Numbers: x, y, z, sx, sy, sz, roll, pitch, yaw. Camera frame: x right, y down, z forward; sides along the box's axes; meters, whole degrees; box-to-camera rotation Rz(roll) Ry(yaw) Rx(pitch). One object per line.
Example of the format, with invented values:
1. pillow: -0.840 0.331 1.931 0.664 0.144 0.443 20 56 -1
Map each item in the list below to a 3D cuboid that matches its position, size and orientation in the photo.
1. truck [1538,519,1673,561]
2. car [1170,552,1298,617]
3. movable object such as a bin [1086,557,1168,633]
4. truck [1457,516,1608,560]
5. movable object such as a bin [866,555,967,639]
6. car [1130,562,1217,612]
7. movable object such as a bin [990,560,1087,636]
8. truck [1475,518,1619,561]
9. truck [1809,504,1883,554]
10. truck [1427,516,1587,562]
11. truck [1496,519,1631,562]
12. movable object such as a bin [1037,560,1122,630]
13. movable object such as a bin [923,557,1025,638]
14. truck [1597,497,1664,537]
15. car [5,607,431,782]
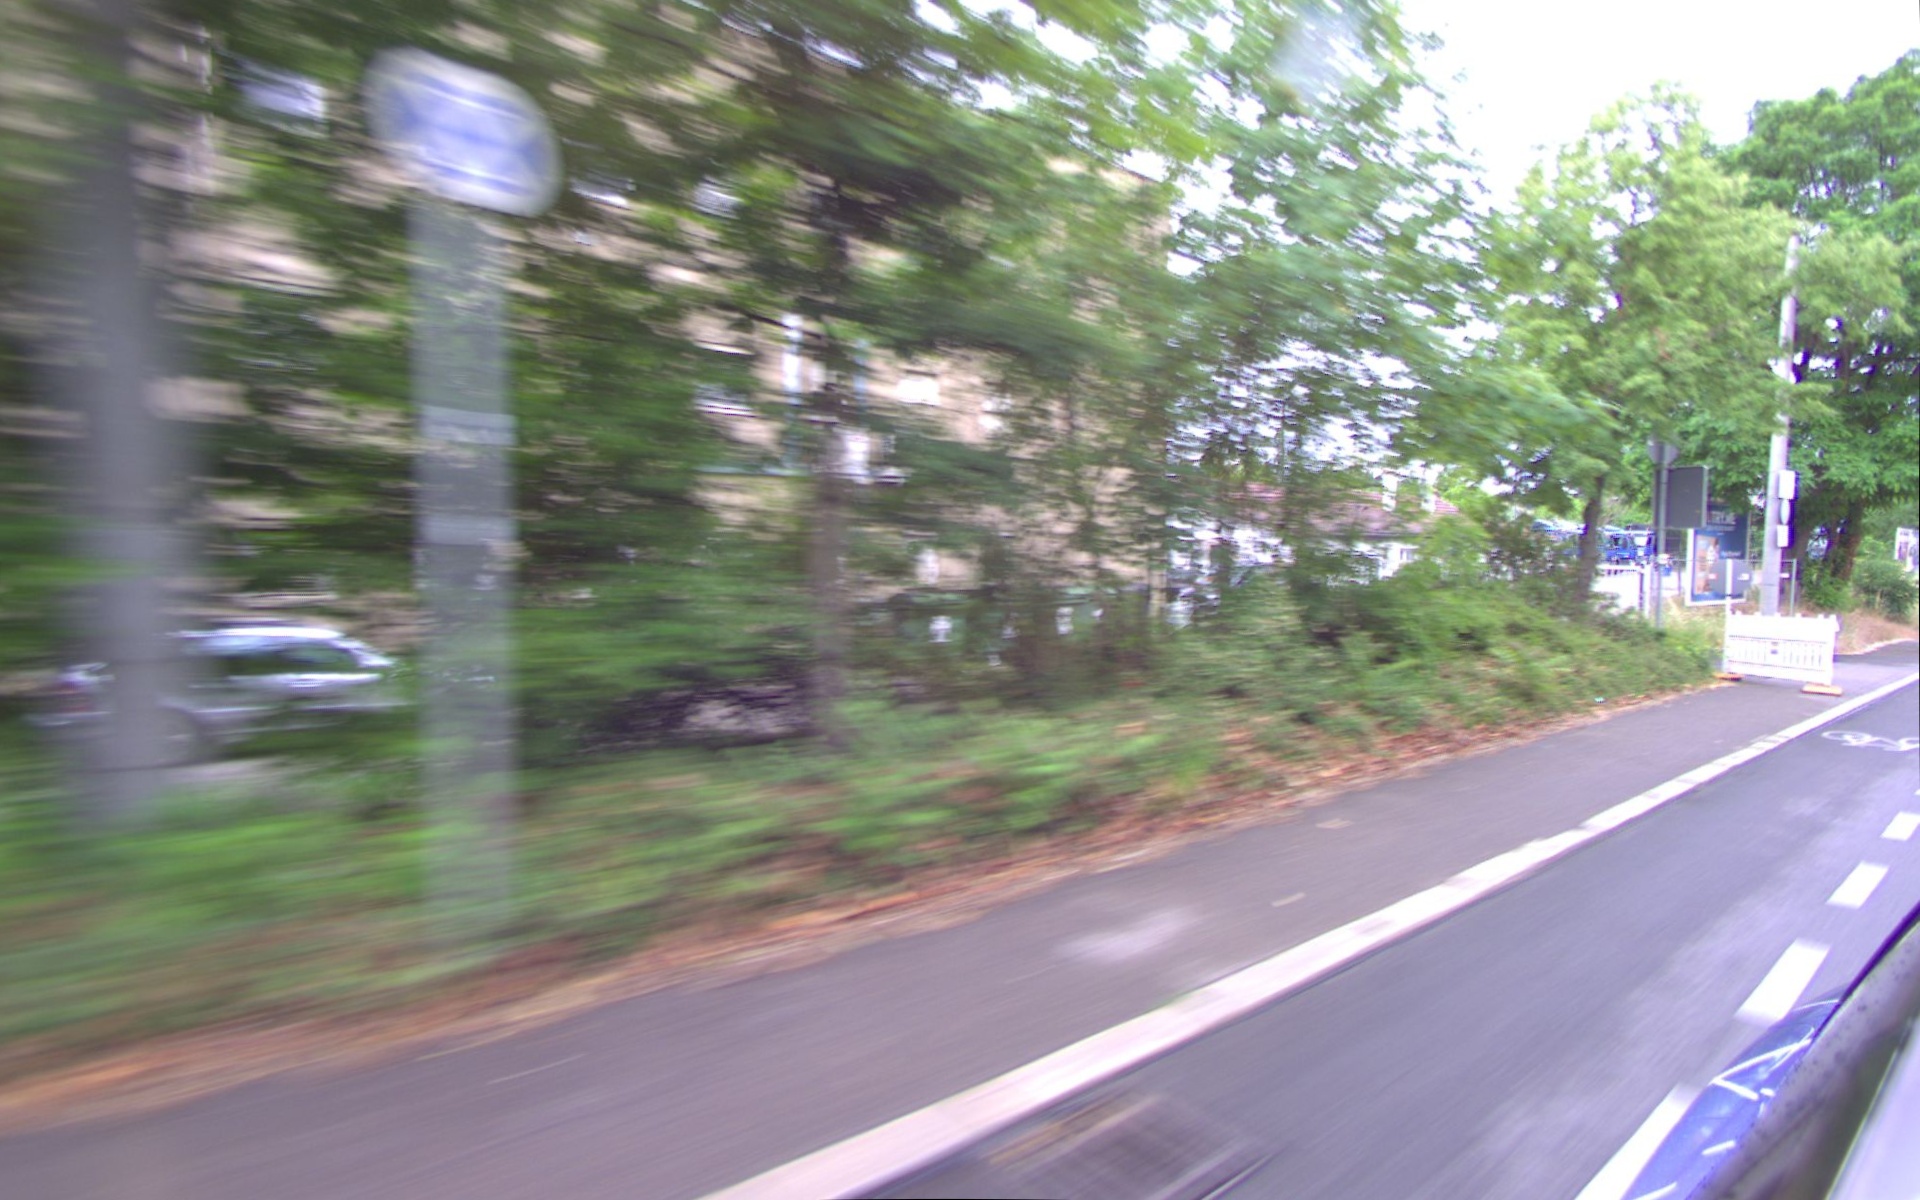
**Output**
1. truck: 46.325 -4.322 72.796 2.544 2.848 7.750 -3 5 -42
2. car: 8.919 -0.566 32.745 4.574 1.881 1.785 -3 5 -41
3. movable object such as a bin: 3.735 -0.124 22.679 1.308 1.605 1.216 0 3 -39
4. truck: 36.997 -4.046 65.697 2.544 2.686 8.105 -3 5 -42
5. movable object such as a bin: -0.799 -0.083 18.439 1.332 1.433 1.275 0 3 -39
6. car: 7.322 -0.473 34.618 2.966 1.548 1.417 -3 5 -41
7. movable object such as a bin: 1.577 -0.068 20.402 1.393 1.433 1.308 0 3 -39
8. truck: 39.553 -4.119 68.460 2.544 2.771 8.019 -3 5 -42
9. truck: 52.573 -4.169 60.014 5.947 2.684 2.288 -3 -1 -40
10. truck: 33.601 -3.799 62.481 2.544 2.648 8.311 -3 5 -42
11. truck: 42.464 -4.245 71.412 2.544 2.890 7.723 -3 5 -42
12. movable object such as a bin: 2.571 -0.125 21.831 1.308 1.433 1.216 0 3 -39
13. movable object such as a bin: 0.266 -0.067 19.356 1.405 1.433 1.308 0 3 -39
14. truck: 56.976 -6.966 85.927 9.475 3.235 2.255 -3 3 -41
15. car: -8.089 0.904 11.295 3.631 1.474 1.552 -1 4 -41
